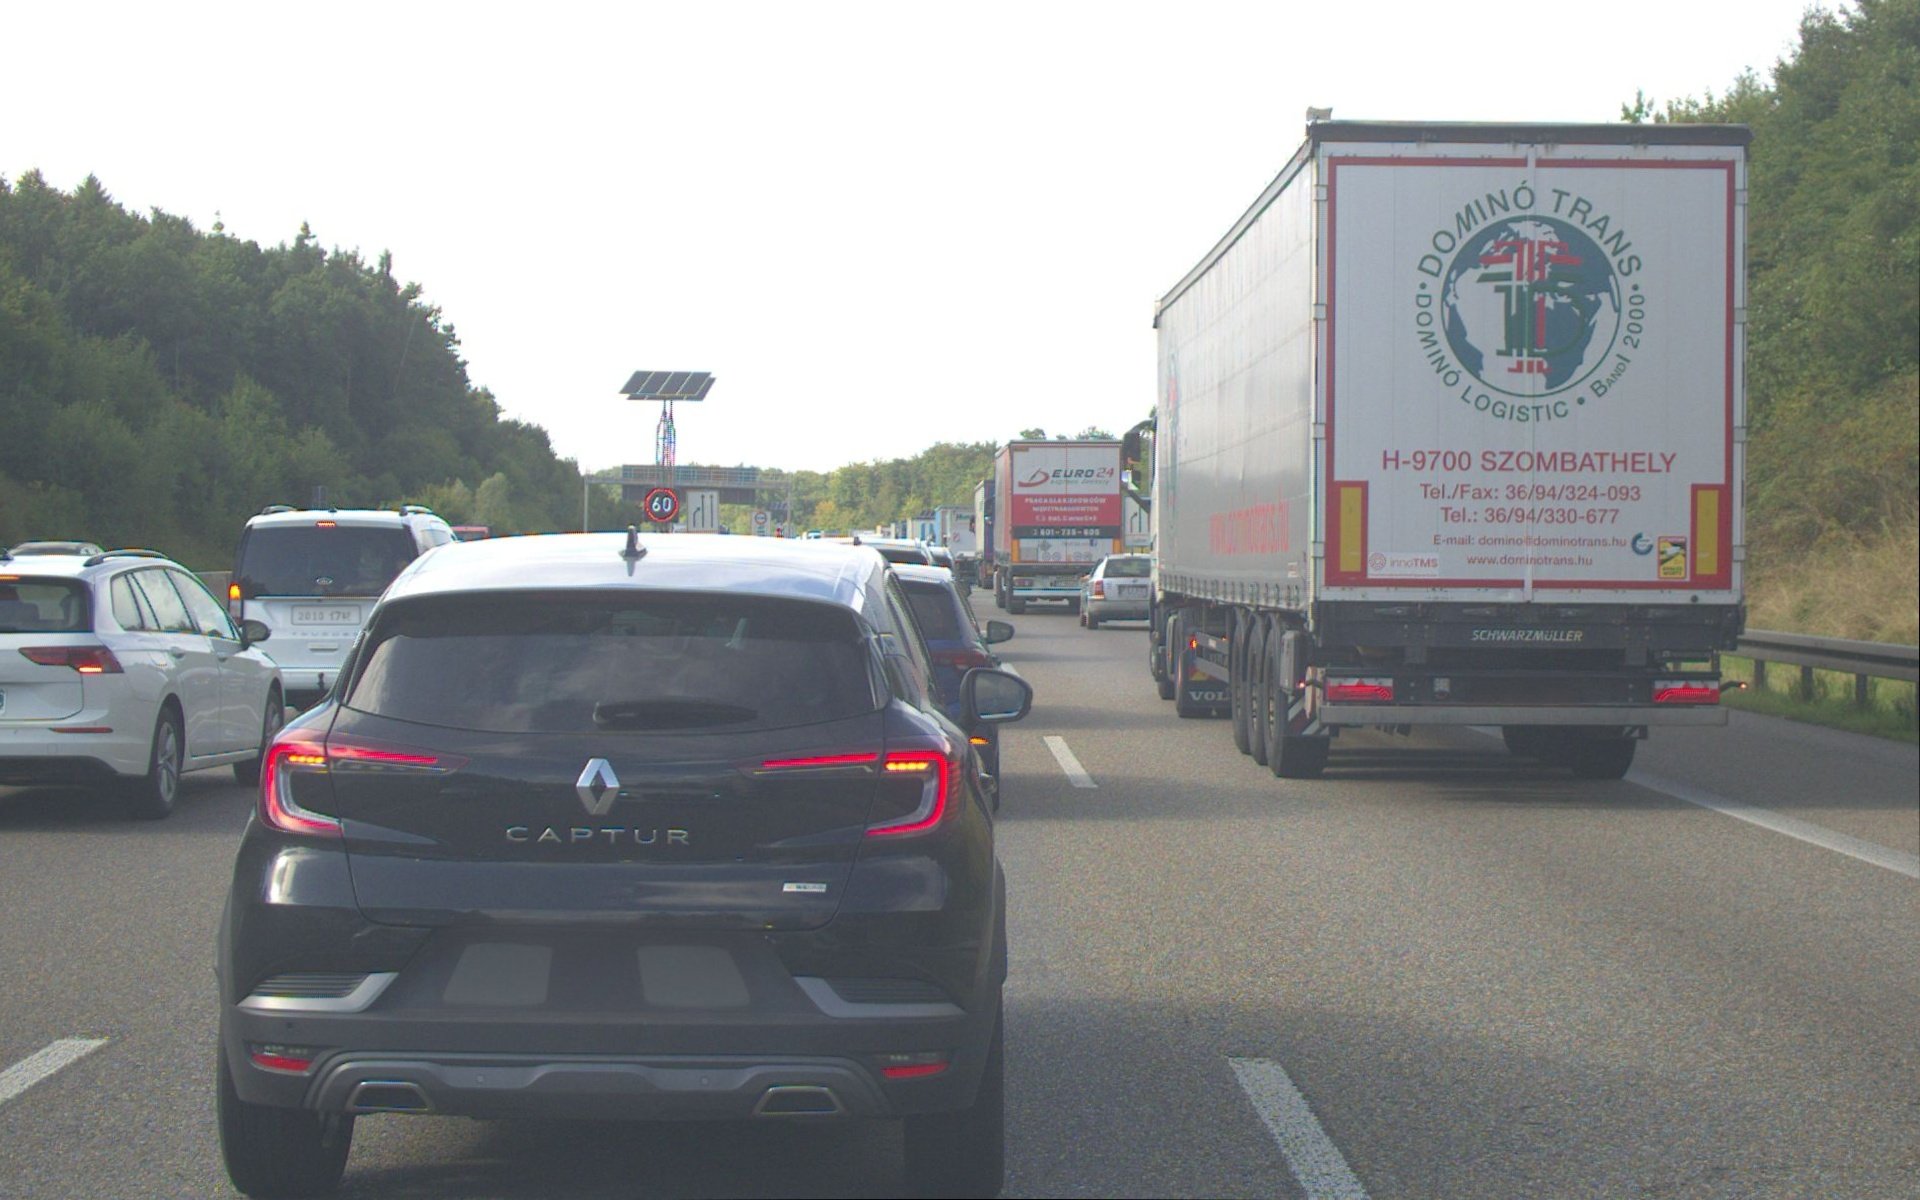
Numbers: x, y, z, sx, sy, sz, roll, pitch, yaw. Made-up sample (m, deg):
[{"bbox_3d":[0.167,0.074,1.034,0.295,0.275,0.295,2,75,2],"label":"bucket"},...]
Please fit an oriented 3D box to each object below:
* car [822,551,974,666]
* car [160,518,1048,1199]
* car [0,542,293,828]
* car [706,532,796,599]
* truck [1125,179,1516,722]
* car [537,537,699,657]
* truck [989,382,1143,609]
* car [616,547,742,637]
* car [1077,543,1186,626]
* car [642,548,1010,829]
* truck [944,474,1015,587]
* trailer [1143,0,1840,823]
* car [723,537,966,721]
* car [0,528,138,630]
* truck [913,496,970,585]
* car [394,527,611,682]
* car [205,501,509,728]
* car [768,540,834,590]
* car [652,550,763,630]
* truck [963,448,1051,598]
[{"bbox_3d":[-0.821,0.091,47.919,1.993,1.509,4.000,1,0,0],"label":"car"},{"bbox_3d":[-0.697,0.581,9.166,1.805,1.547,4.000,0,1,2],"label":"car"},{"bbox_3d":[-5.193,0.411,19.760,1.804,1.456,4.308,0,1,1],"label":"car"},{"bbox_3d":[-5.209,-0.875,86.080,1.993,1.607,4.000,1,1,0],"label":"car"},{"bbox_3d":[3.249,-1.339,32.604,2.997,4.651,5.940,0,1,0],"label":"truck"},{"bbox_3d":[-5.107,-0.061,51.750,1.993,1.716,4.000,1,0,0],"label":"car"},{"bbox_3d":[2.437,-2.395,83.272,3.365,5.027,12.737,1,0,1],"label":"truck"},{"bbox_3d":[-5.219,-0.163,64.244,1.993,1.607,4.000,1,0,0],"label":"car"},{"bbox_3d":[3.263,-0.302,65.964,1.804,1.527,3.926,1,0,-1],"label":"car"},{"bbox_3d":[-0.725,0.467,20.829,1.993,1.509,4.000,1,0,0],"label":"car"},{"bbox_3d":[1.049,-3.452,174.531,3.167,5.486,12.736,1,0,2],"label":"truck"},{"bbox_3d":[3.306,-1.217,25.753,3.002,4.645,13.291,1,1,0],"label":"trailer"},{"bbox_3d":[-0.957,0.229,30.679,1.993,1.509,4.000,1,0,0],"label":"car"},{"bbox_3d":[-16.638,-0.415,63.456,1.852,1.803,4.625,1,1,0],"label":"car"},{"bbox_3d":[-1.079,-3.528,207.229,3.166,5.142,12.737,1,0,1],"label":"truck"},{"bbox_3d":[-5.103,0.035,38.778,1.855,1.635,3.925,1,0,1],"label":"car"},{"bbox_3d":[-5.109,0.099,29.688,1.911,1.783,4.418,1,0,-1],"label":"car"},{"bbox_3d":[-5.309,-1.181,115.148,1.993,1.607,4.000,1,1,0],"label":"car"},{"bbox_3d":[-5.275,-0.229,72.276,1.993,1.607,4.000,1,0,0],"label":"car"},{"bbox_3d":[1.796,-2.878,132.471,3.166,5.486,12.737,1,0,1],"label":"truck"}]
